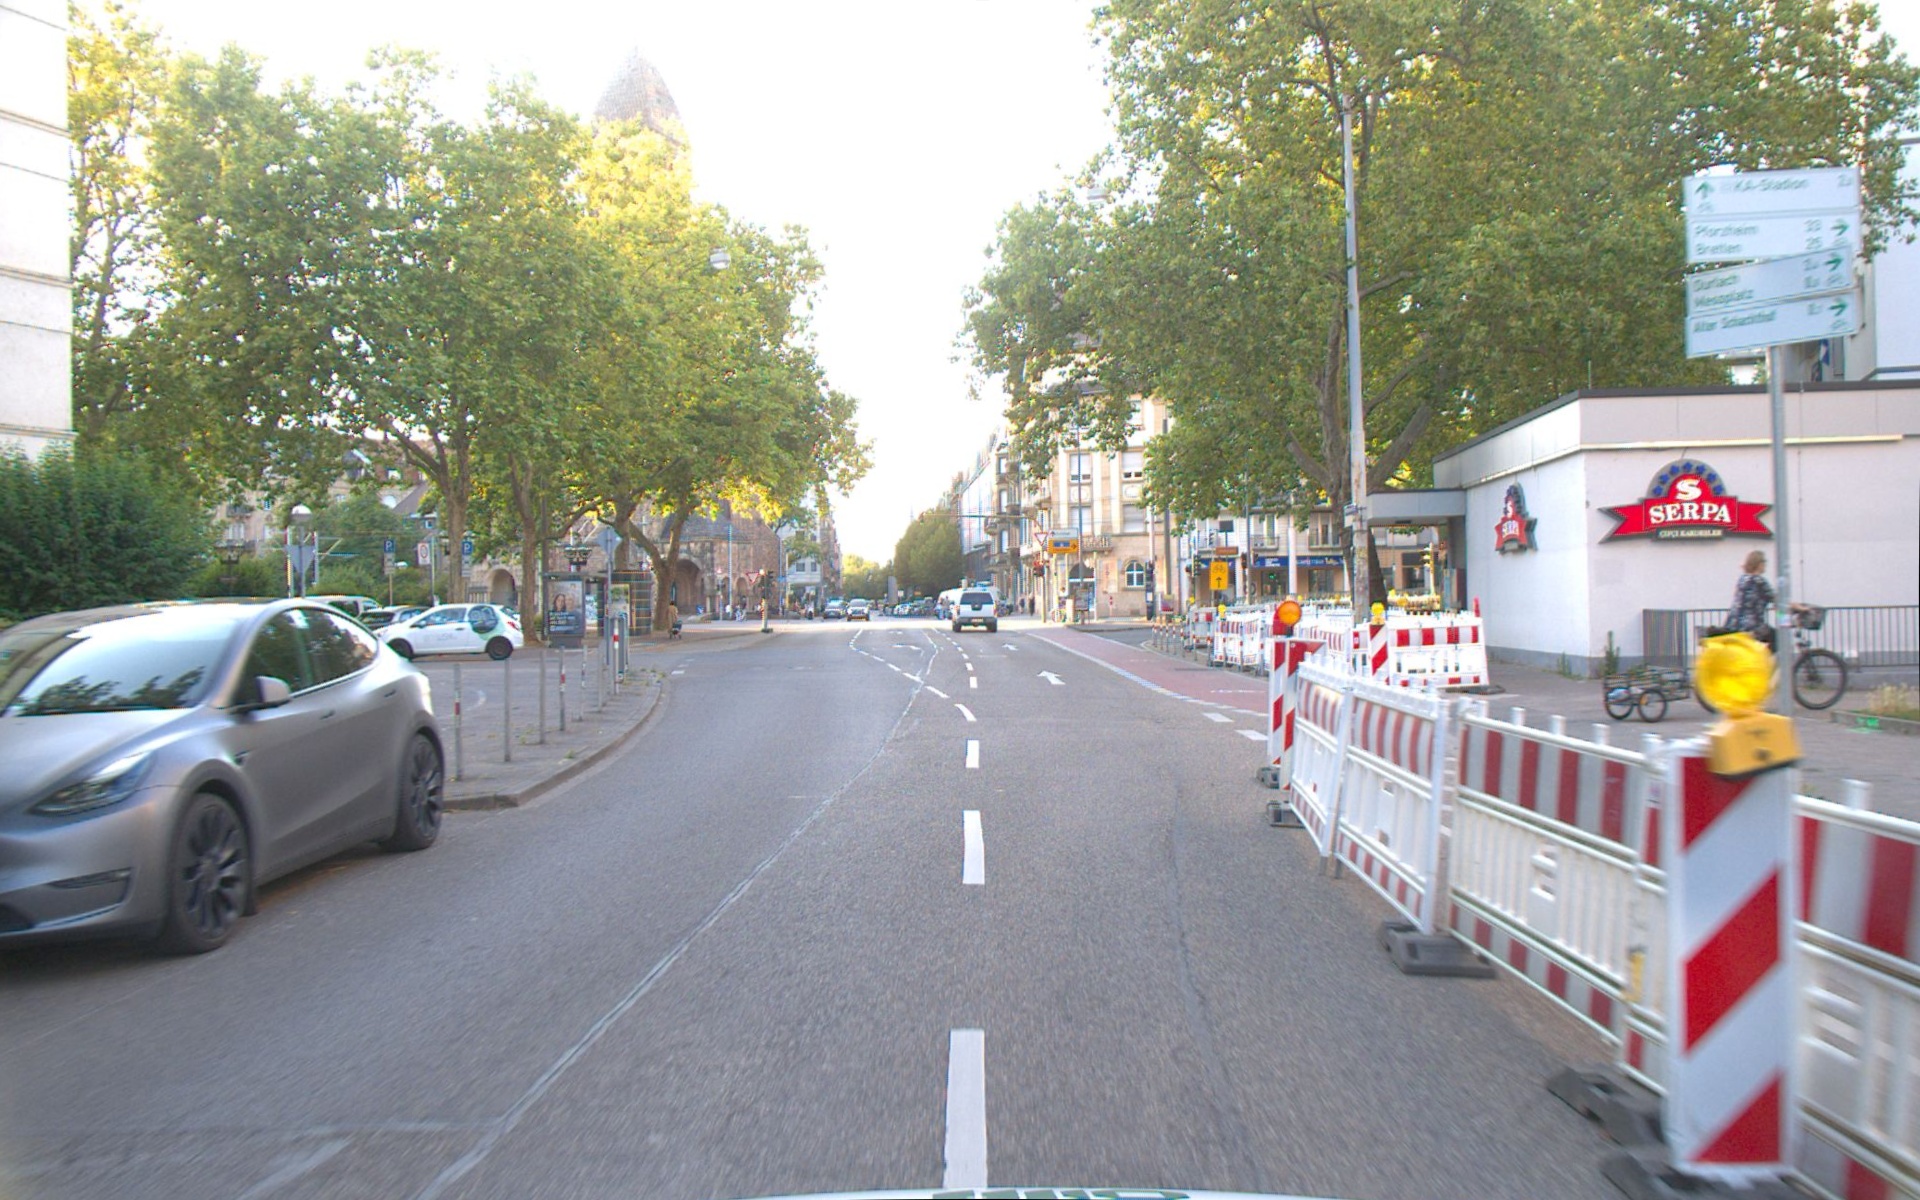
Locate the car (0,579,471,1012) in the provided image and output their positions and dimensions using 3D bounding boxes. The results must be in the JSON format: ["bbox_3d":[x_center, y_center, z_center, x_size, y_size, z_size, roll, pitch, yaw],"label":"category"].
[{"bbox_3d":[-4.257,0.797,8.672,1.914,1.645,4.605,-3,0,0],"label":"car"}]

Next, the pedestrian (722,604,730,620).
[{"bbox_3d":[-19.844,1.013,140.297,0.560,1.343,0.487,-1,0,12],"label":"pedestrian"}]

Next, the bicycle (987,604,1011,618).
[{"bbox_3d":[3.031,0.852,128.365,1.876,0.985,0.545,-1,0,-1],"label":"bicycle"}]

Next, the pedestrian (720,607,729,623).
[{"bbox_3d":[-19.827,1.256,139.315,0.560,1.313,0.487,-1,0,12],"label":"pedestrian"}]

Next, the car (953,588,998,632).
[{"bbox_3d":[0.639,0.432,72.607,1.828,1.846,3.999,-2,0,-1],"label":"car"}]

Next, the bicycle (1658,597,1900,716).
[{"bbox_3d":[9.533,0.647,19.320,2.304,1.192,0.942,-4,-1,-2],"label":"bicycle"}]

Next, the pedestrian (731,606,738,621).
[{"bbox_3d":[-19.097,1.144,140.237,0.491,1.303,0.489,-1,0,-23],"label":"pedestrian"}]

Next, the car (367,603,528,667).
[{"bbox_3d":[-13.324,0.878,43.248,3.921,1.545,1.992,-1,0,-16],"label":"car"}]

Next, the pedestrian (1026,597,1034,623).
[{"bbox_3d":[5.235,0.745,123.340,0.581,1.919,0.647,-1,0,3],"label":"pedestrian"}]

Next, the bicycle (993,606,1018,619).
[{"bbox_3d":[3.530,0.979,129.427,1.874,0.985,0.546,-1,0,15],"label":"bicycle"}]

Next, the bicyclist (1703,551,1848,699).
[{"bbox_3d":[9.509,0.284,19.323,1.120,1.609,0.942,-4,-1,-2],"label":"bicyclist"}]

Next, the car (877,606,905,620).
[{"bbox_3d":[-10.144,1.880,242.165,3.909,1.847,1.998,-1,0,-6],"label":"car"}]

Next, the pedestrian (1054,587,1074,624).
[{"bbox_3d":[5.147,0.256,81.984,0.782,1.799,0.718,-1,0,-17],"label":"pedestrian"}]

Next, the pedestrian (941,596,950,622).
[{"bbox_3d":[-1.086,0.654,124.222,0.581,1.919,0.647,-1,0,3],"label":"pedestrian"}]

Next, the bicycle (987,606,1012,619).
[{"bbox_3d":[3.062,0.970,128.643,1.876,0.985,0.545,-1,0,-1],"label":"bicycle"}]

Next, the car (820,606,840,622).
[{"bbox_3d":[-13.308,1.411,169.078,1.956,1.680,3.815,0,0,-7],"label":"car"}]

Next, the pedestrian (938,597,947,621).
[{"bbox_3d":[-1.392,0.694,130.826,0.581,1.919,0.647,-1,0,3],"label":"pedestrian"}]

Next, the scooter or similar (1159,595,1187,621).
[{"bbox_3d":[10.433,0.397,81.060,0.540,1.272,1.371,-1,0,-39],"label":"scooter or similar"}]

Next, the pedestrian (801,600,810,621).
[{"bbox_3d":[-14.334,0.952,153.583,0.581,1.919,0.585,-1,0,17],"label":"pedestrian"}]

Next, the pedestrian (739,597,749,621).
[{"bbox_3d":[-17.816,0.725,136.447,0.581,1.919,0.553,-1,0,24],"label":"pedestrian"}]

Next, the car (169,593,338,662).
[{"bbox_3d":[-21.161,0.784,49.757,2.035,1.873,4.633,-1,1,20],"label":"car"}]

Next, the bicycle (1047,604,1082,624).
[{"bbox_3d":[5.139,0.685,81.483,1.659,0.985,0.545,-1,0,-6],"label":"bicycle"}]

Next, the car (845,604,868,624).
[{"bbox_3d":[-8.751,1.150,139.477,1.748,1.680,3.815,0,0,-7],"label":"car"}]

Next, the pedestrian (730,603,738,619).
[{"bbox_3d":[-19.067,0.921,139.276,0.487,1.309,0.493,-1,0,17],"label":"pedestrian"}]

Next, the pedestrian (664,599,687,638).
[{"bbox_3d":[-12.225,0.800,71.029,0.722,1.657,0.686,-1,0,12],"label":"pedestrian"}]

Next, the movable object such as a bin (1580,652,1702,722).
[{"bbox_3d":[7.918,1.003,19.264,0.970,0.701,0.942,-4,-1,-2],"label":"movable object such as a bin"}]

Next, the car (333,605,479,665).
[{"bbox_3d":[-16.031,0.982,48.136,1.780,1.507,4.635,-1,1,14],"label":"car"}]

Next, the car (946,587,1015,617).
[{"bbox_3d":[1.705,0.175,134.898,5.775,2.328,2.040,-1,0,-43],"label":"car"}]

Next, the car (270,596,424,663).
[{"bbox_3d":[-18.499,0.862,50.148,1.781,1.831,4.633,-1,1,20],"label":"car"}]

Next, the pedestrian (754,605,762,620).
[{"bbox_3d":[-17.669,1.111,144.452,0.560,1.313,0.487,-1,0,12],"label":"pedestrian"}]

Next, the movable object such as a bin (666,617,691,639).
[{"bbox_3d":[-11.932,1.187,70.081,0.722,0.906,0.983,-1,0,12],"label":"movable object such as a bin"}]

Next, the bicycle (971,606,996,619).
[{"bbox_3d":[1.805,0.968,129.074,1.879,0.985,0.544,-1,0,-9],"label":"bicycle"}]
